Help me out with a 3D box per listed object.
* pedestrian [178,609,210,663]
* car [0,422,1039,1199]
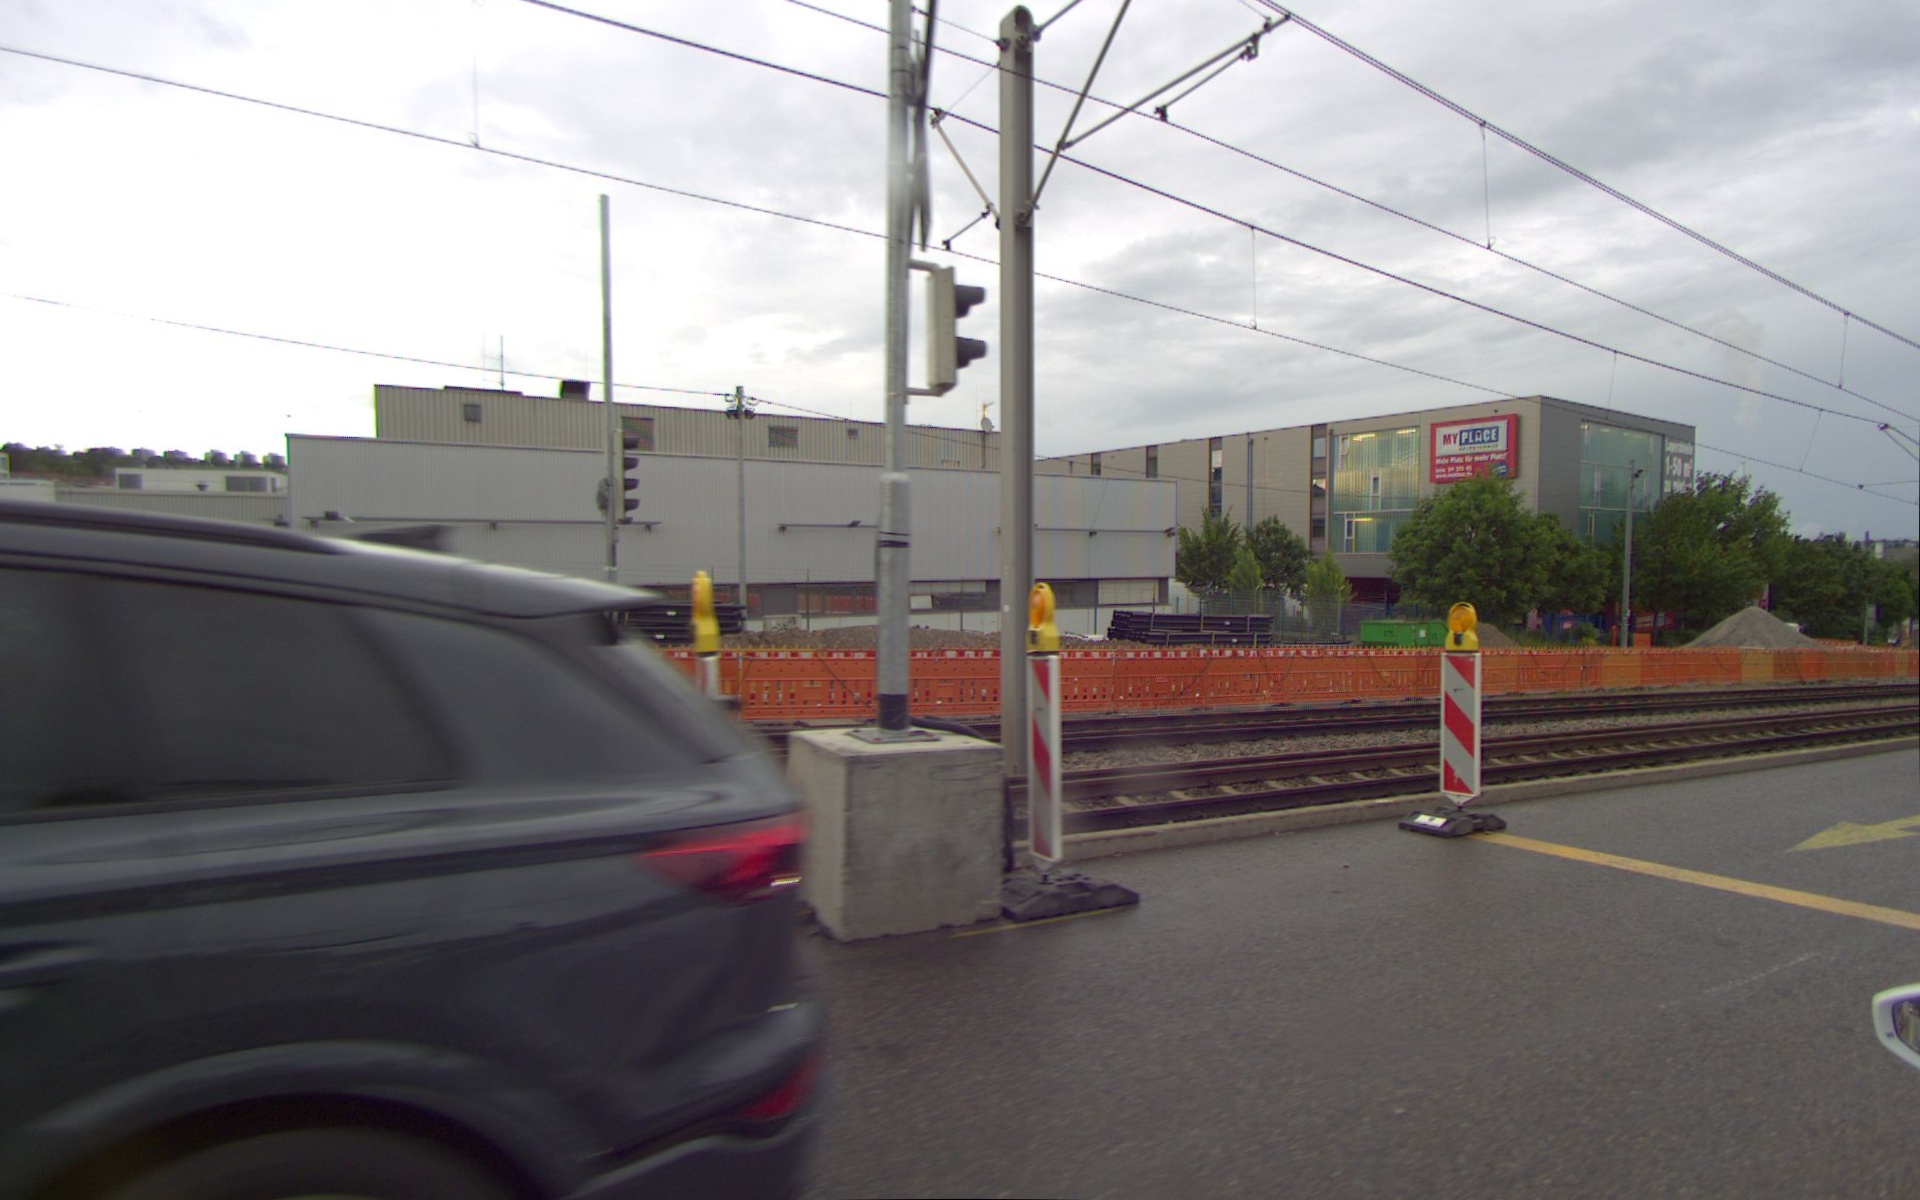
[{"bbox_3d":[-25.928,1.207,34.022,0.755,1.814,0.704,1,0,-31],"label":"pedestrian"},{"bbox_3d":[-2.279,0.615,1.821,4.426,1.700,1.988,1,0,-24],"label":"car"}]
